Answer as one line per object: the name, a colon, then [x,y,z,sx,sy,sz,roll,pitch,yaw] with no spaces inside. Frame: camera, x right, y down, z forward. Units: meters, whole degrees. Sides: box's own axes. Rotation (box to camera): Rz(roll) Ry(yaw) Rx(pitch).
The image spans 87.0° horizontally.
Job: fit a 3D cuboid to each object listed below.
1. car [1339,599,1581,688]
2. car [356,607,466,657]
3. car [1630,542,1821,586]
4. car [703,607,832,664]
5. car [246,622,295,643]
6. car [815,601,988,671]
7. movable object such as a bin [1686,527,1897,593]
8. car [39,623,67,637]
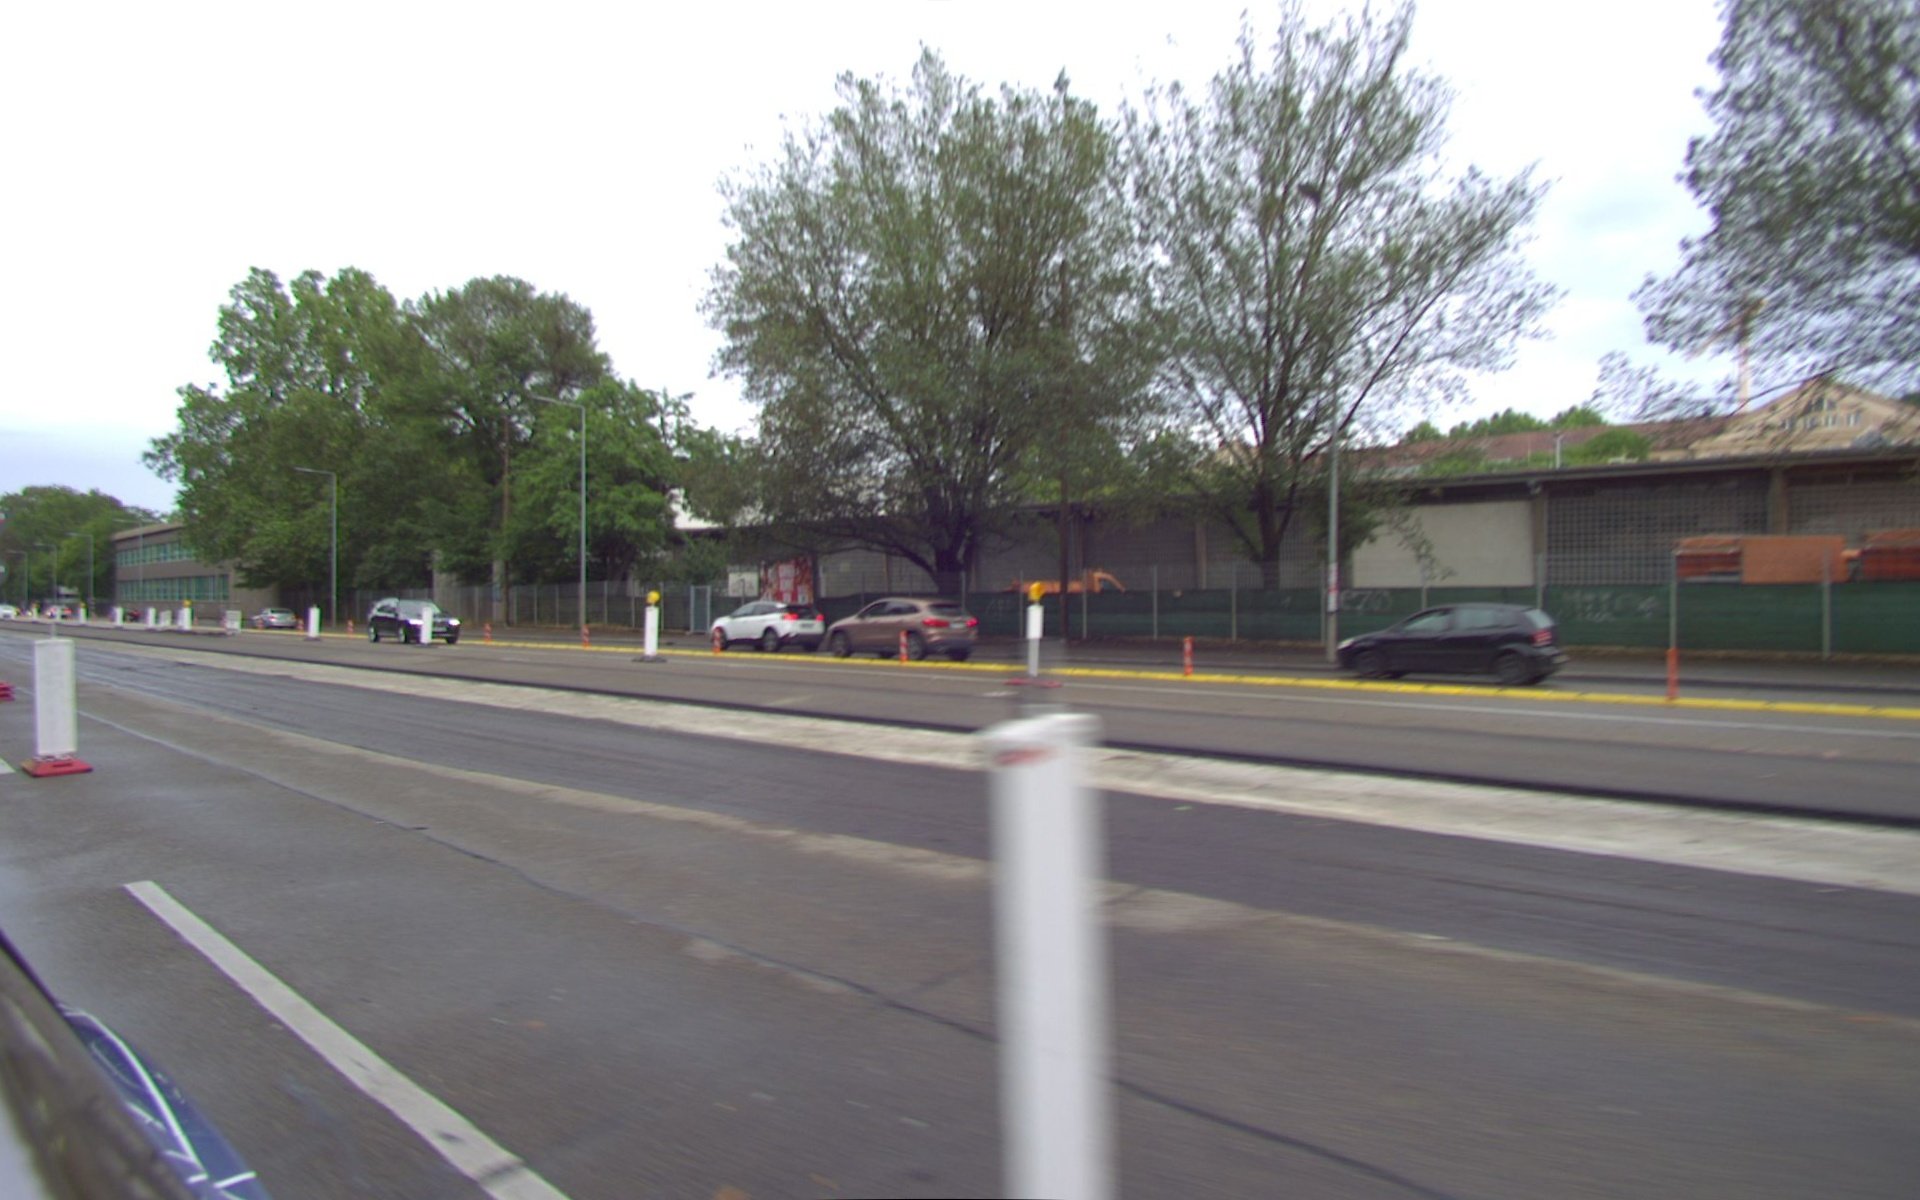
car: [9.270,0.786,18.902,3.730,1.487,1.839,-1,-3,41]
car: [-20.241,1.219,37.208,4.983,1.719,1.972,-2,-5,42]
car: [20.702,-0.968,27.458,3.961,1.070,1.756,-1,-1,-6]
car: [-6.285,1.137,32.801,4.363,1.719,1.839,-1,-3,42]
car: [-45.882,2.166,67.272,4.453,1.325,1.649,-1,-3,42]
car: [-1.551,0.912,25.833,4.363,1.631,1.839,-1,-3,42]
movable object such as a bin: [20.804,-0.985,25.401,3.961,1.539,1.755,-1,-1,-6]
car: [-99.818,3.258,111.319,4.146,1.445,1.817,-1,0,41]
